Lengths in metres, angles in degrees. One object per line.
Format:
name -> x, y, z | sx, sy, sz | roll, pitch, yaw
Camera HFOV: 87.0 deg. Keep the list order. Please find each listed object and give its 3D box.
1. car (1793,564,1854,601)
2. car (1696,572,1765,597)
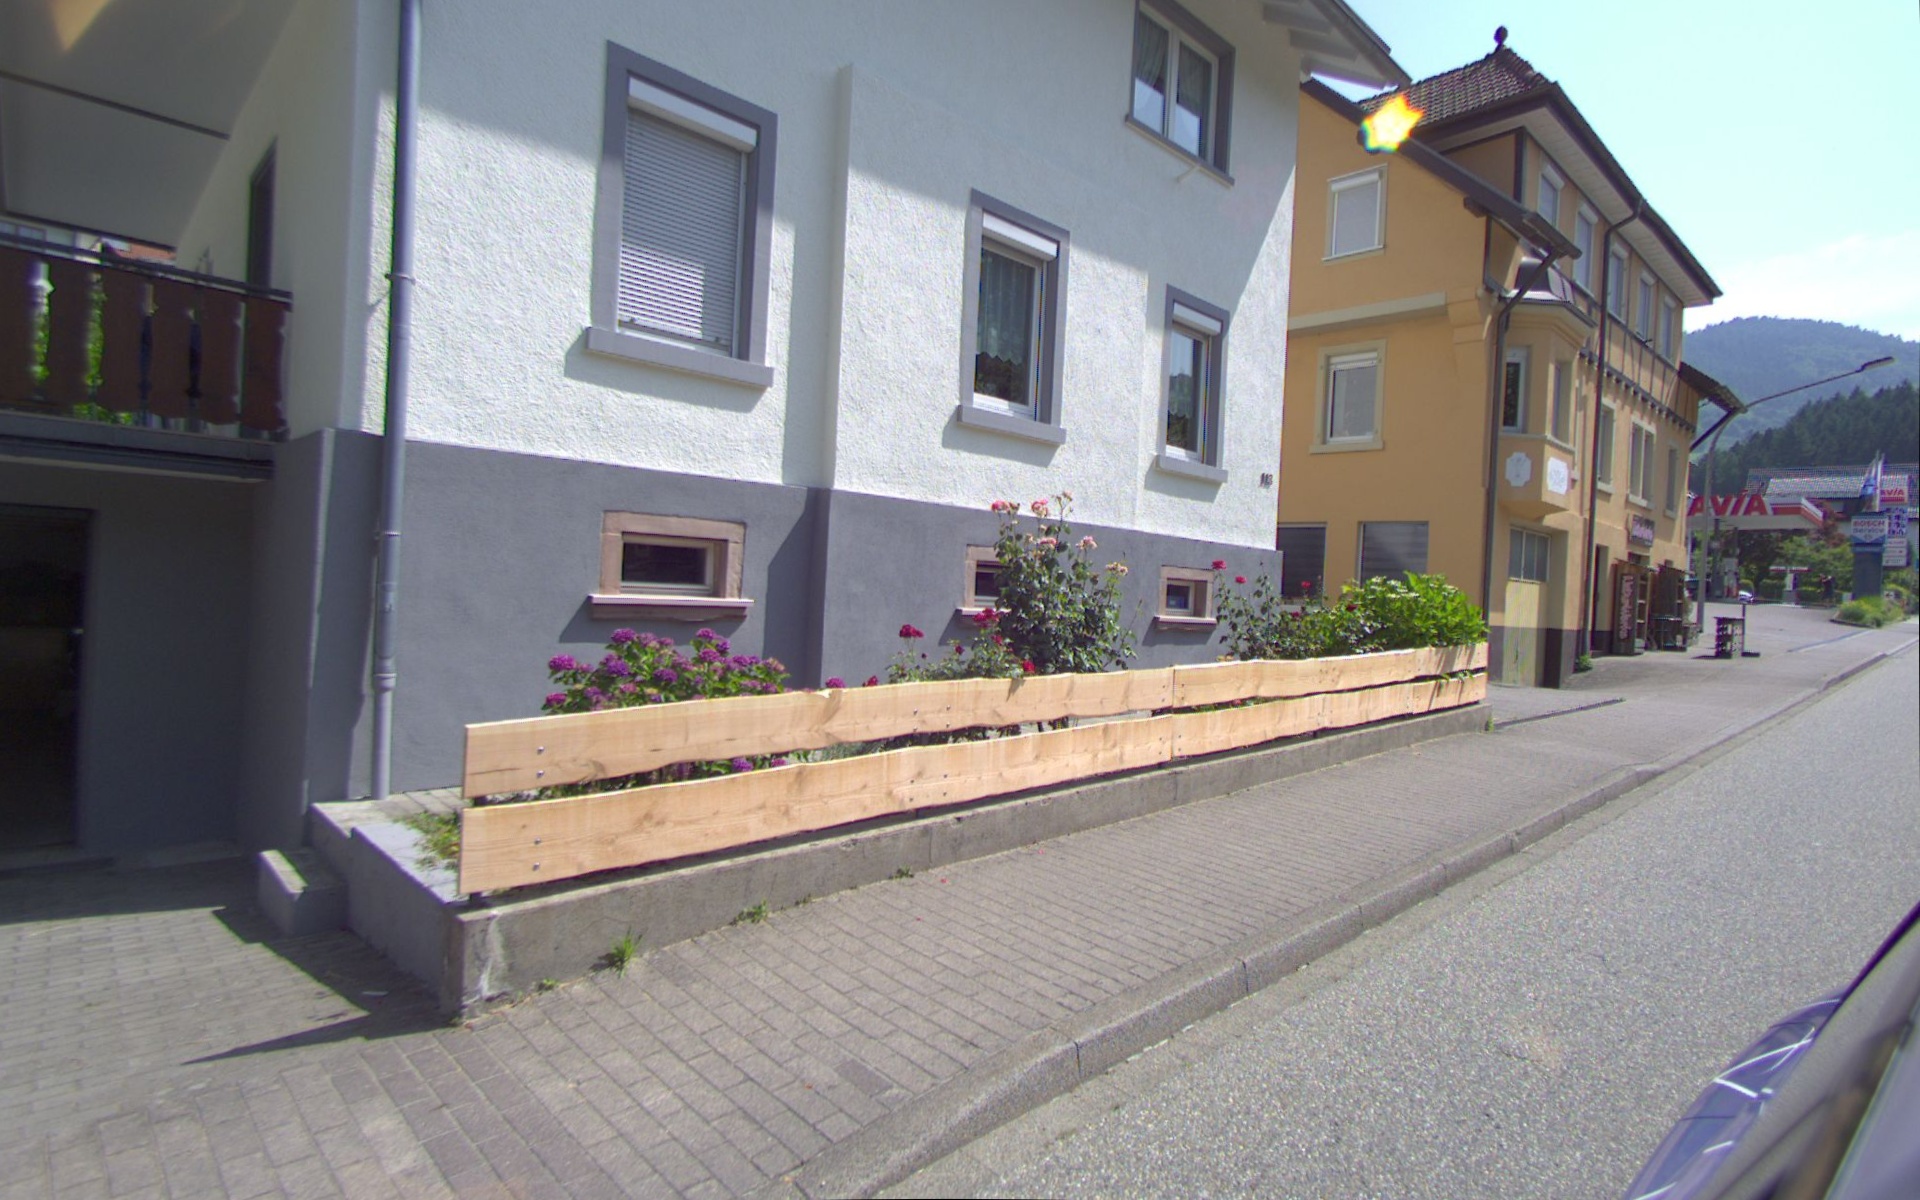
car -> 42.654, -0.891, 49.996 | 3.845, 1.595, 1.696 | -1, 7, -42
car -> 46.228, -0.968, 60.760 | 1.313, 1.157, 3.078 | -1, 7, -44
